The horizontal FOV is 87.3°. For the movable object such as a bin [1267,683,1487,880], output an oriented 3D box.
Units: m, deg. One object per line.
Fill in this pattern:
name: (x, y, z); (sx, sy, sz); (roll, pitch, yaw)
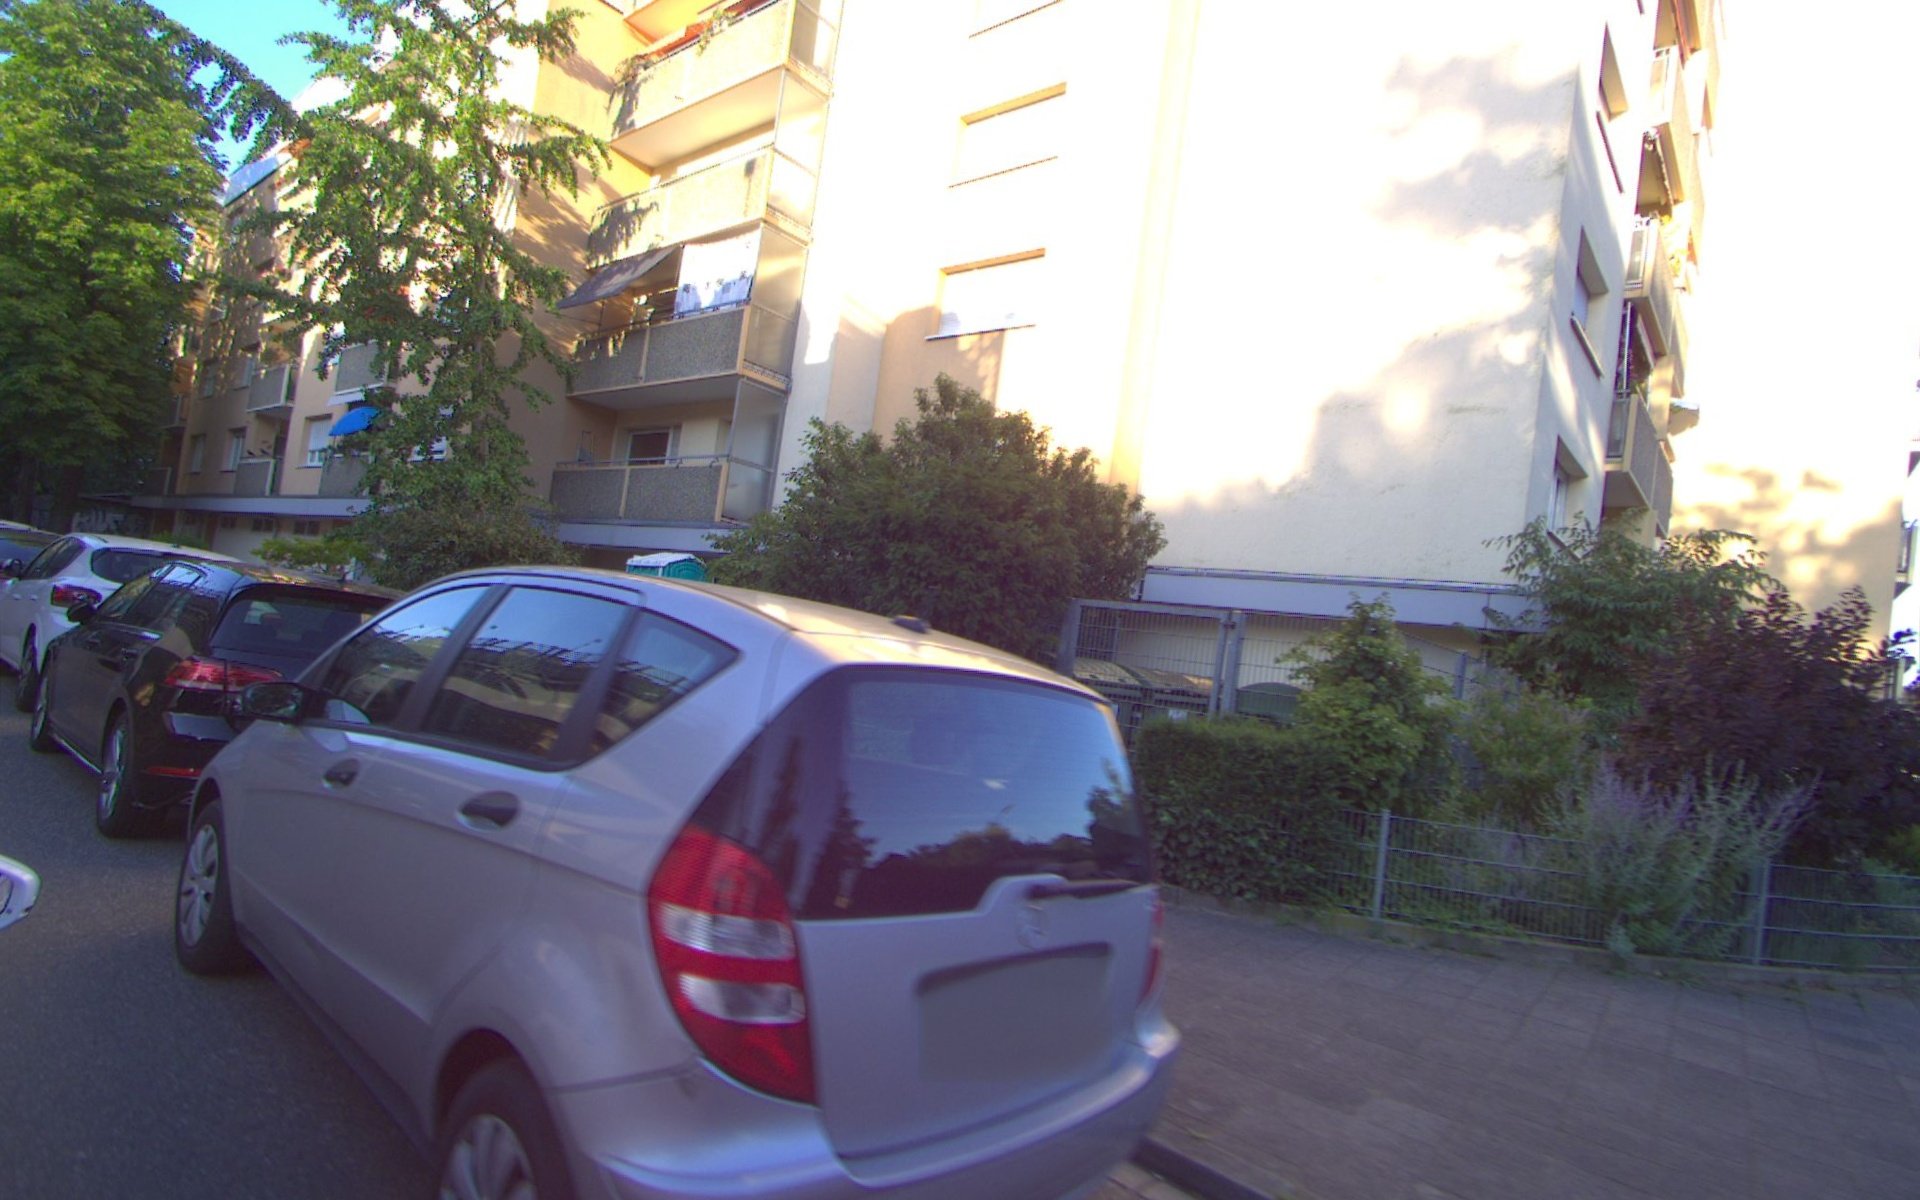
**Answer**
movable object such as a bin: (3.994, 1.678, 9.626); (1.558, 1.487, 1.184); (7, -2, 37)

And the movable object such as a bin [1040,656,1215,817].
movable object such as a bin: (1.788, 1.429, 10.706); (1.281, 1.431, 1.184); (7, -2, 37)

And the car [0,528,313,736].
car: (-7.790, 0.230, 9.431); (3.842, 1.432, 1.809); (6, -3, 42)

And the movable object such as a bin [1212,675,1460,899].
movable object such as a bin: (3.178, 1.509, 8.497); (1.558, 1.487, 1.124); (7, -2, 37)

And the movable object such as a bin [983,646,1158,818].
movable object such as a bin: (1.086, 1.271, 9.888); (1.281, 1.431, 0.877); (7, -2, 37)

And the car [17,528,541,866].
car: (-4.559, 0.448, 6.488); (3.971, 1.435, 1.716); (6, -3, 41)

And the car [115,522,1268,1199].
car: (-1.233, 0.731, 3.422); (3.830, 1.593, 1.809); (6, -3, 41)

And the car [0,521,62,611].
car: (-19.471, -0.826, 19.992); (4.135, 1.580, 1.791); (6, -3, 41)

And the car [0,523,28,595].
car: (-22.947, -1.097, 23.237); (3.429, 1.527, 1.609); (6, -3, 41)

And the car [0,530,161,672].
car: (-12.068, -0.115, 13.014); (4.561, 1.432, 1.809); (6, -3, 41)

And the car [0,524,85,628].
car: (-16.304, -0.529, 17.016); (3.998, 1.477, 1.609); (6, -3, 41)
